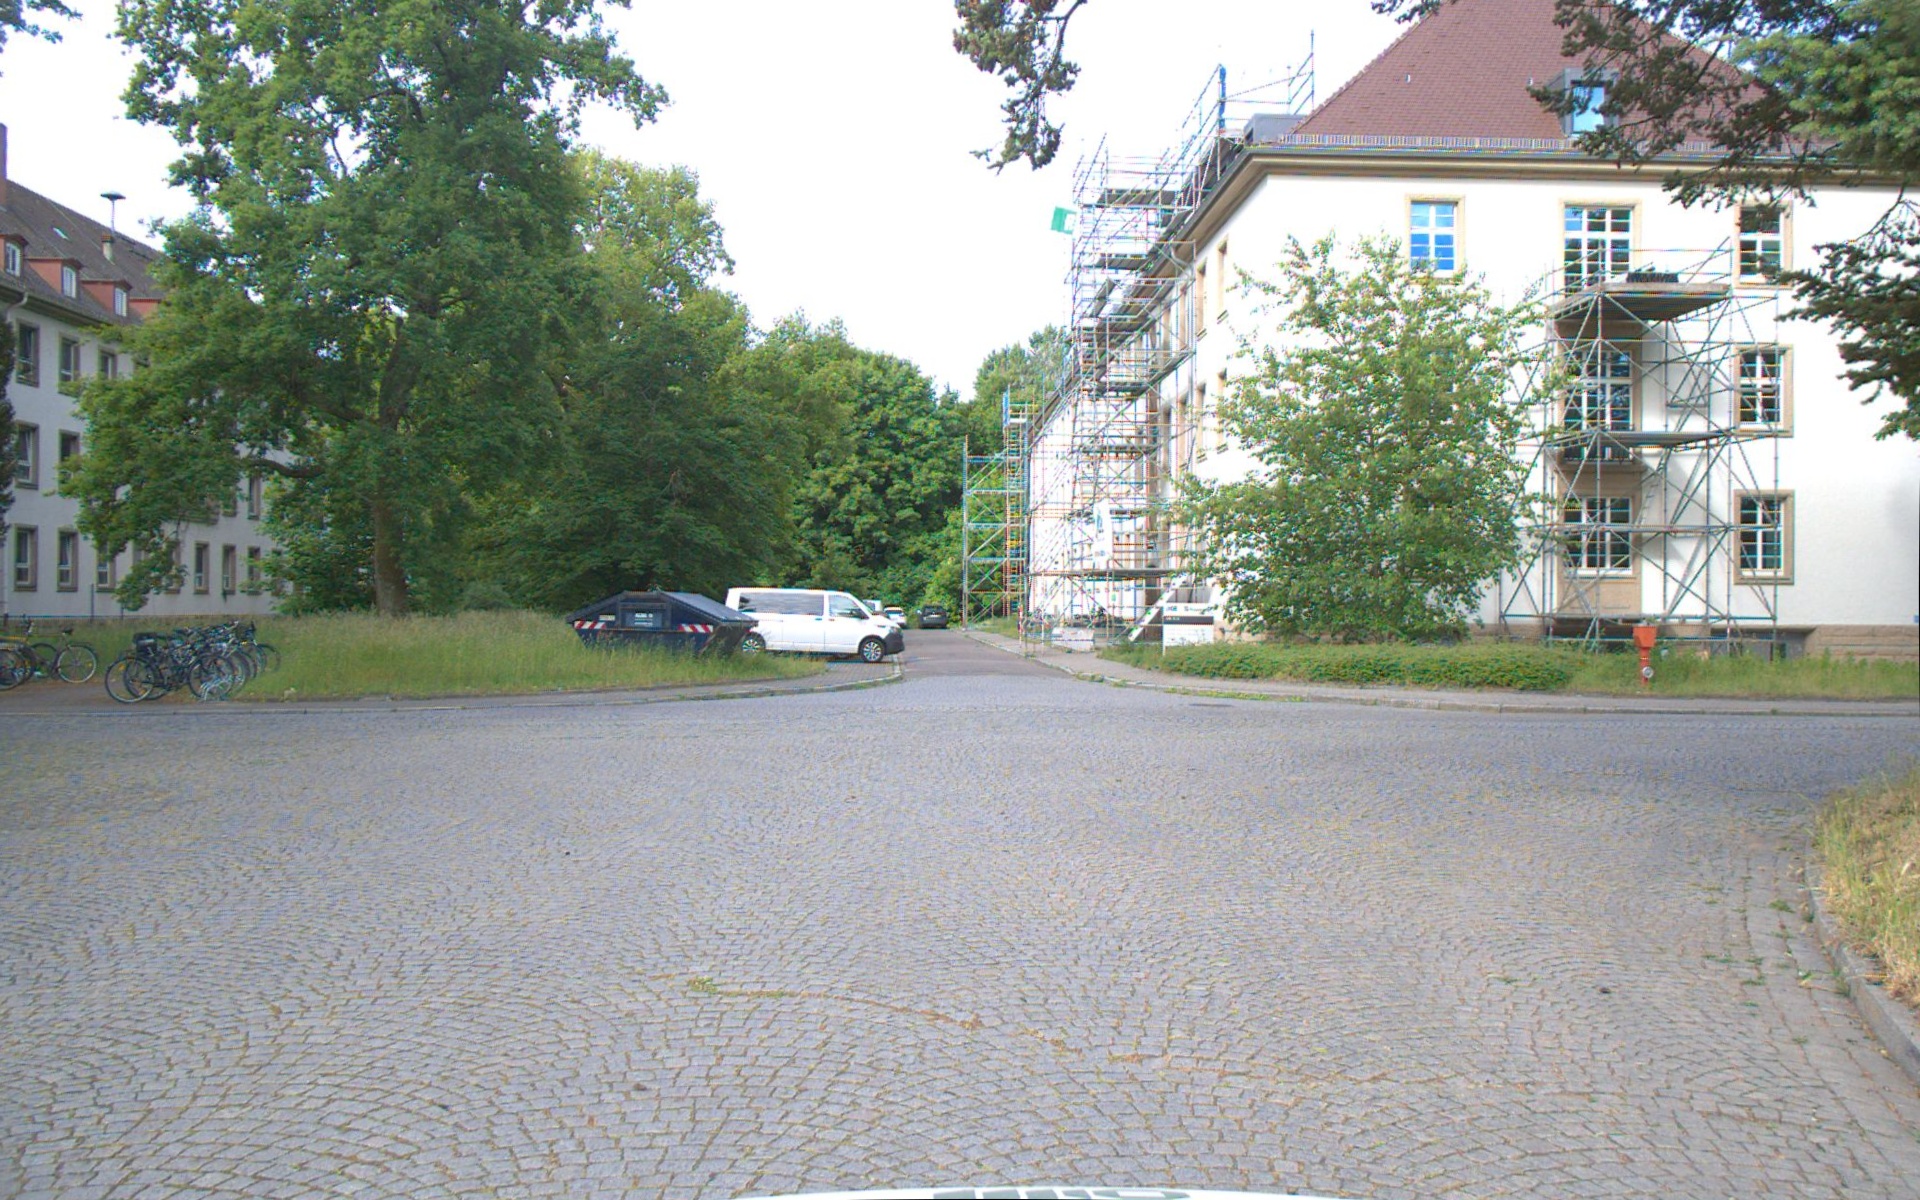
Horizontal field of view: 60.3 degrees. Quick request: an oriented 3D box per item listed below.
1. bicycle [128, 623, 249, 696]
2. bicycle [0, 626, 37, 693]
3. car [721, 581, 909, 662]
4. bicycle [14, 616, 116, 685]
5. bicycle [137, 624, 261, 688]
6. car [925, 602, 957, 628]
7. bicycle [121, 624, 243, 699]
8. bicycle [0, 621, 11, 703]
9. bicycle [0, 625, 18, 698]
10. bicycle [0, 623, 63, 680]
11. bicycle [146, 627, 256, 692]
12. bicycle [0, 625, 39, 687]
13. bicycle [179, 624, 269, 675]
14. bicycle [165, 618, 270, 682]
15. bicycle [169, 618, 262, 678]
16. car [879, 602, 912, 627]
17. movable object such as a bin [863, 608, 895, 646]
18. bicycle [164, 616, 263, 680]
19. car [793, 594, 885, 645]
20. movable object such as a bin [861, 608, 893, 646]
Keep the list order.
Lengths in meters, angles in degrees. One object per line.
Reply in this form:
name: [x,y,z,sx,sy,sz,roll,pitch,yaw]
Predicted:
bicycle: [-12.957,0.982,27.834,1.768,1.122,0.698,-1,2,-22]
bicycle: [-16.554,1.011,27.994,1.609,1.092,0.534,0,2,-33]
car: [-4.032,0.622,46.538,5.097,2.096,2.186,1,-1,-4]
bicycle: [-16.386,0.916,30.322,1.620,1.206,0.569,0,2,-29]
bicycle: [-13.453,0.983,29.297,1.926,1.022,0.682,-1,2,-22]
car: [-1.276,1.022,112.831,2.021,1.621,3.999,3,-1,0]
bicycle: [-12.736,0.997,27.132,1.743,1.122,0.698,-1,2,-22]
bicycle: [-15.866,0.958,25.691,1.868,1.244,0.639,1,1,-22]
bicycle: [-16.149,0.982,26.304,1.957,1.133,0.639,0,2,-22]
bicycle: [-17.936,0.993,31.697,1.241,1.047,0.431,-1,-2,-22]
bicycle: [-13.089,1.012,28.563,1.667,1.019,0.628,-1,2,-22]
bicycle: [-17.146,0.995,29.227,1.497,1.053,0.539,0,2,-33]
bicycle: [-14.528,0.974,32.690,1.593,0.926,0.523,-1,2,-22]
bicycle: [-13.967,0.937,31.145,1.746,1.124,0.538,-1,2,-22]
bicycle: [-14.451,0.926,32.124,1.593,1.077,0.523,-1,2,-22]
car: [-4.420,0.975,112.538,1.962,1.575,3.953,3,-1,-5]
movable object such as a bin: [-3.239,1.077,66.264,1.160,1.432,0.975,3,-1,-2]
bicycle: [-14.255,0.913,31.617,1.673,1.135,0.538,-1,2,-22]
car: [-5.431,0.886,73.977,3.911,2.049,1.919,3,-1,-7]
movable object such as a bin: [-3.268,1.064,65.131,1.160,1.432,0.975,3,-1,-2]
